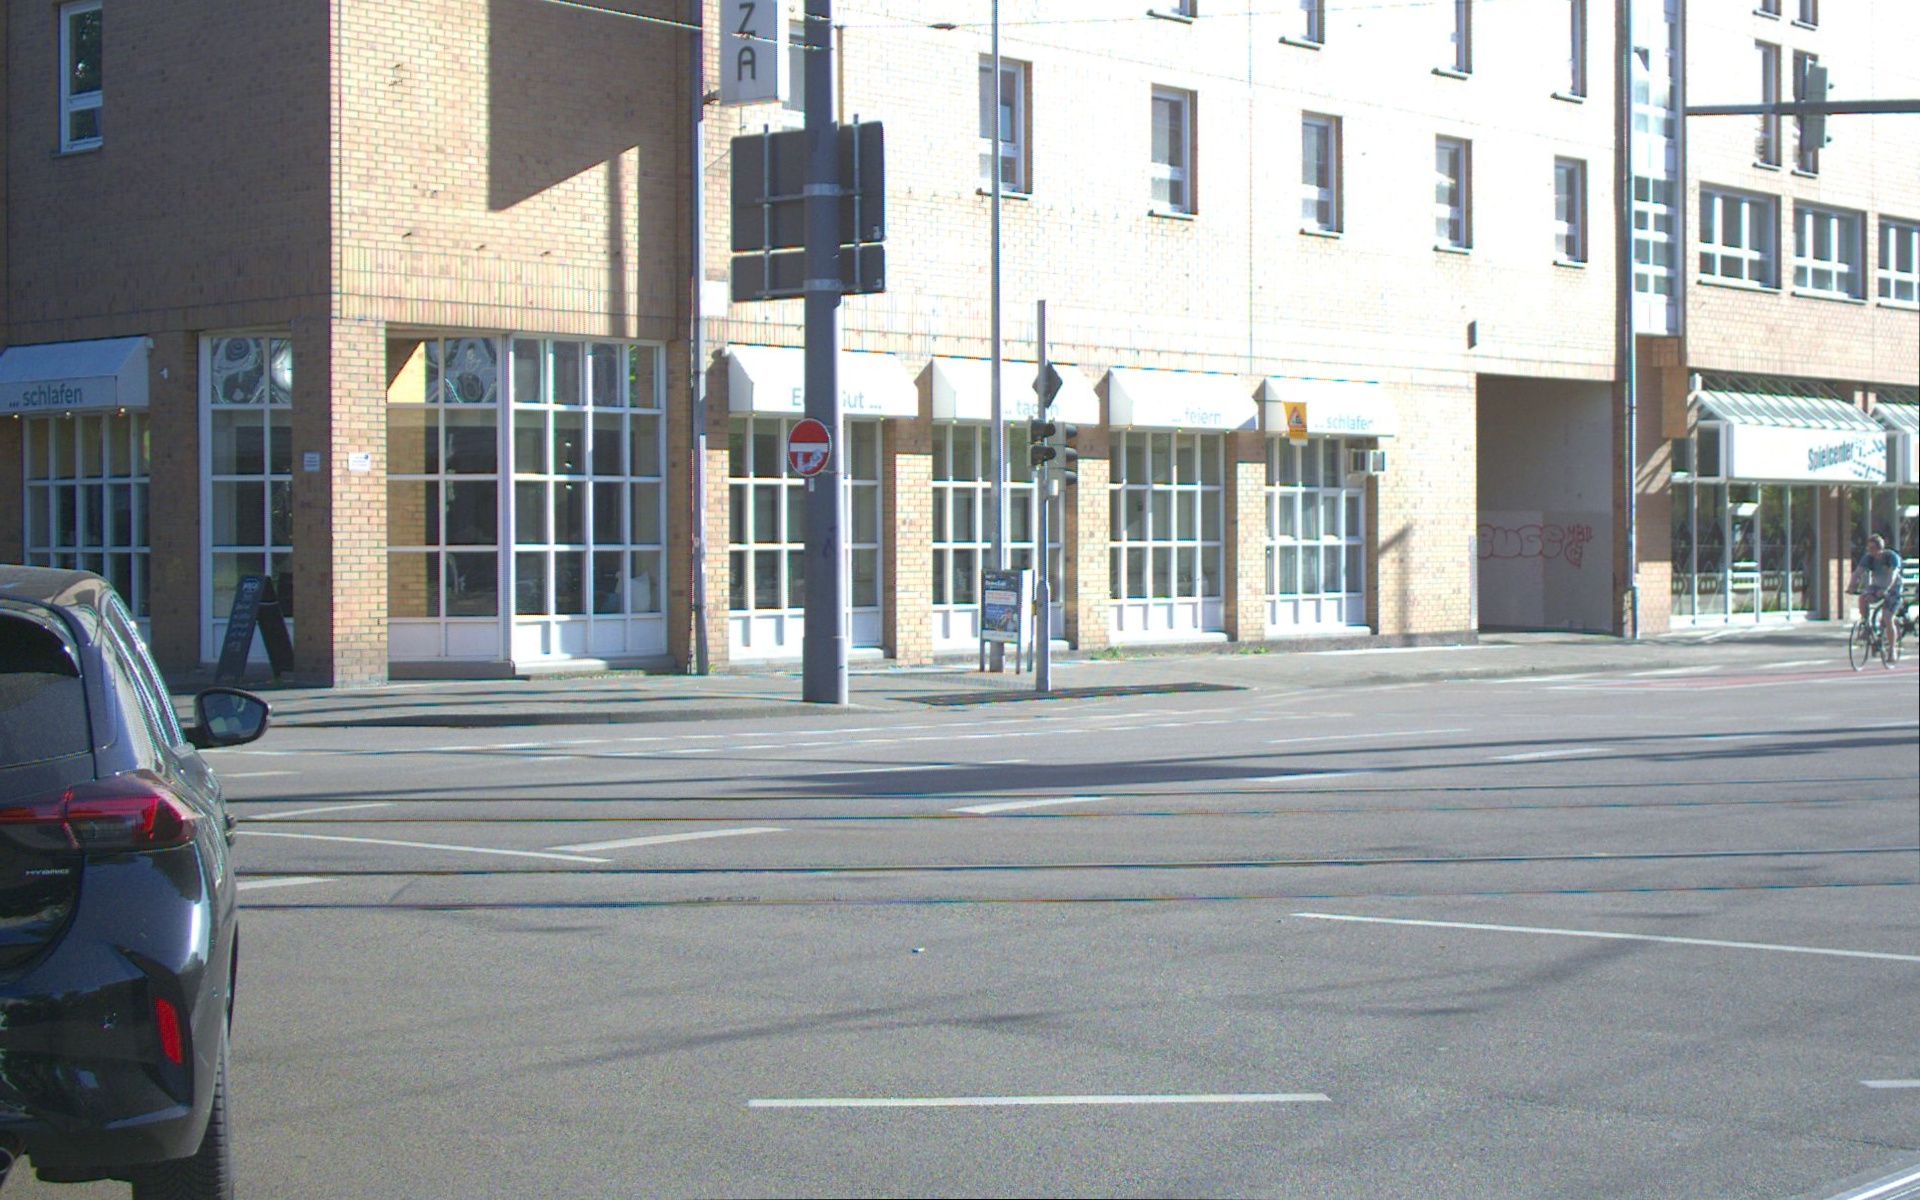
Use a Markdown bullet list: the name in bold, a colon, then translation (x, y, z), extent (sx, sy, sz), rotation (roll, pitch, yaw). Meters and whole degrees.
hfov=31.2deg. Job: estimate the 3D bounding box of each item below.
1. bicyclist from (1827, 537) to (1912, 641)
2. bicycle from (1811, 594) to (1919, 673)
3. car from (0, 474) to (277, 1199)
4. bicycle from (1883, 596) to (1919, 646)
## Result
- **bicyclist**: translation (12.189, -0.151, 46.066), extent (0.811, 1.372, 0.924), rotation (0, 1, 37)
- **bicycle**: translation (12.364, 0.438, 46.295), extent (0.811, 0.987, 2.503), rotation (0, 1, 37)
- **car**: translation (-2.551, 0.543, 8.115), extent (1.671, 1.497, 3.691), rotation (-1, -1, -9)
- **bicycle**: translation (16.554, 0.356, 57.888), extent (0.481, 0.842, 2.039), rotation (-1, 1, -41)
